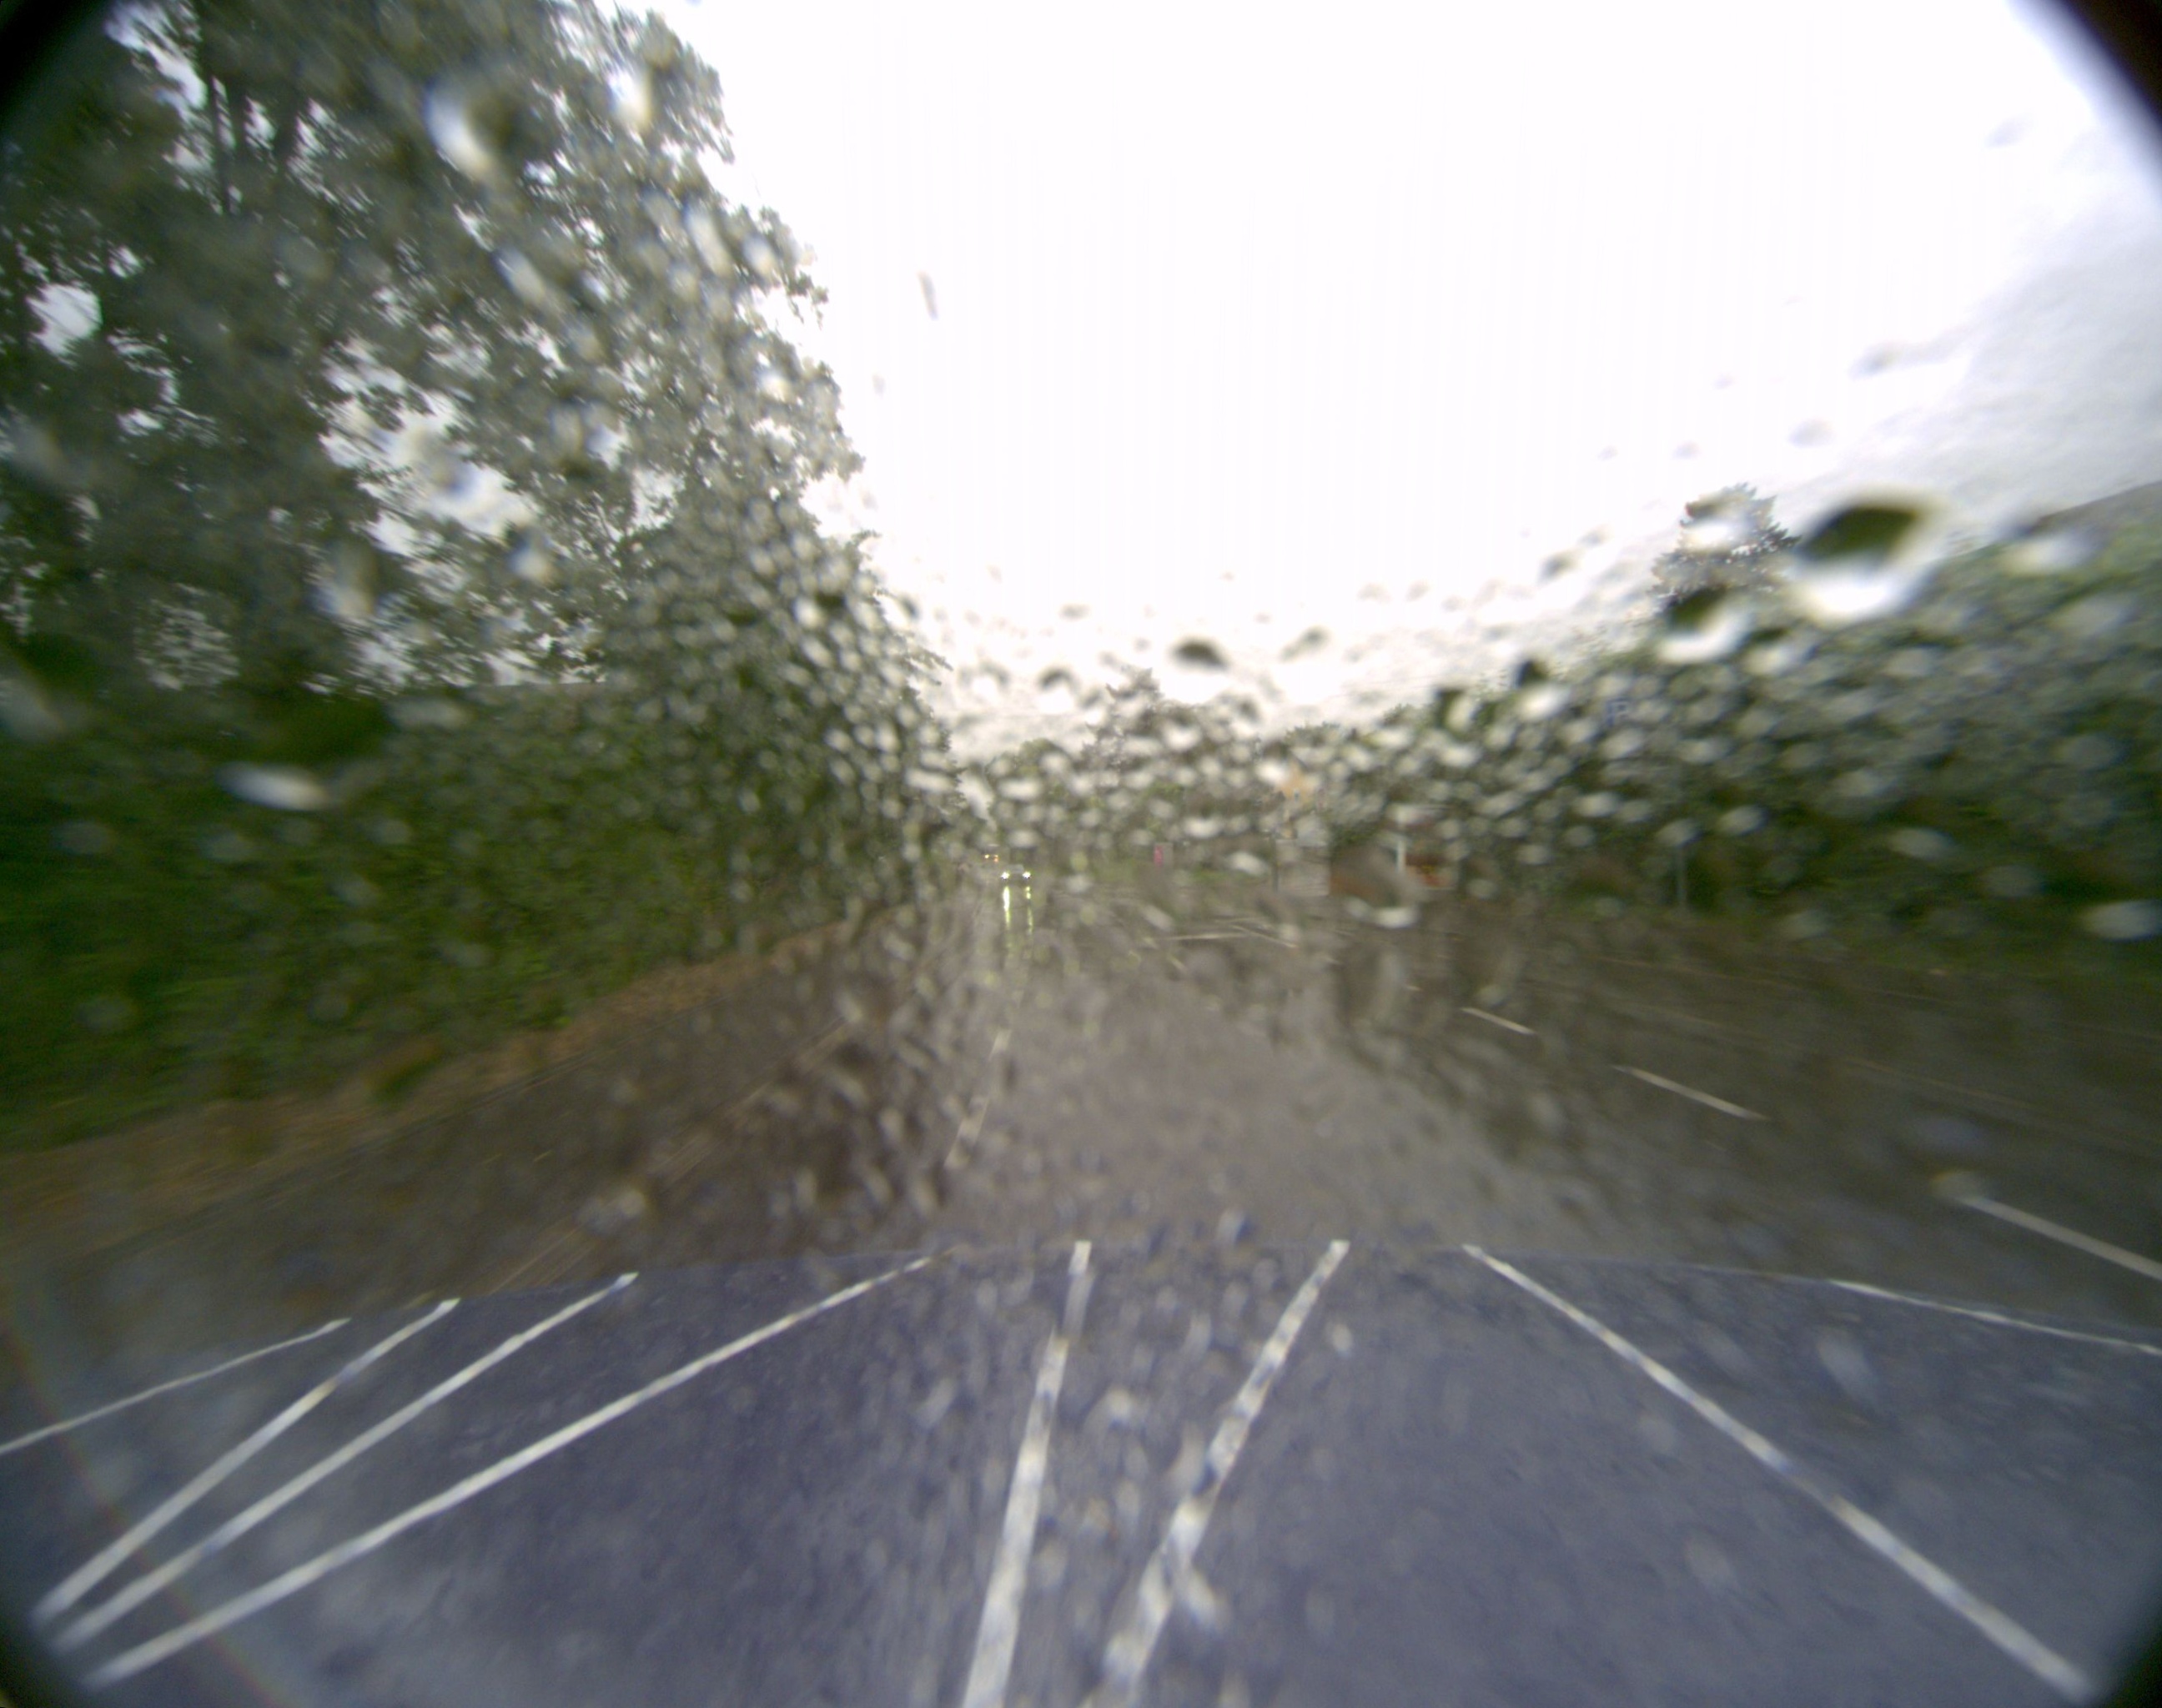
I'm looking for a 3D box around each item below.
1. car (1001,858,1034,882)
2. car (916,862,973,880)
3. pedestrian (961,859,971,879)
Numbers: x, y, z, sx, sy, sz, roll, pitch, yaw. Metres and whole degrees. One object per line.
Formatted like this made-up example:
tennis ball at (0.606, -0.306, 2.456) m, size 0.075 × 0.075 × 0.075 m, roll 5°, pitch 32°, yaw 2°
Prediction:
car at (-4.430, 1.077, 52.616) m, size 1.801 × 1.543 × 3.996 m, roll -2°, pitch 0°, yaw -11°
car at (-12.025, 1.507, 67.369) m, size 4.812 × 1.406 × 1.807 m, roll -2°, pitch 0°, yaw -7°
pedestrian at (-8.822, 1.178, 58.355) m, size 0.771 × 1.517 × 0.872 m, roll 0°, pitch 0°, yaw -7°
